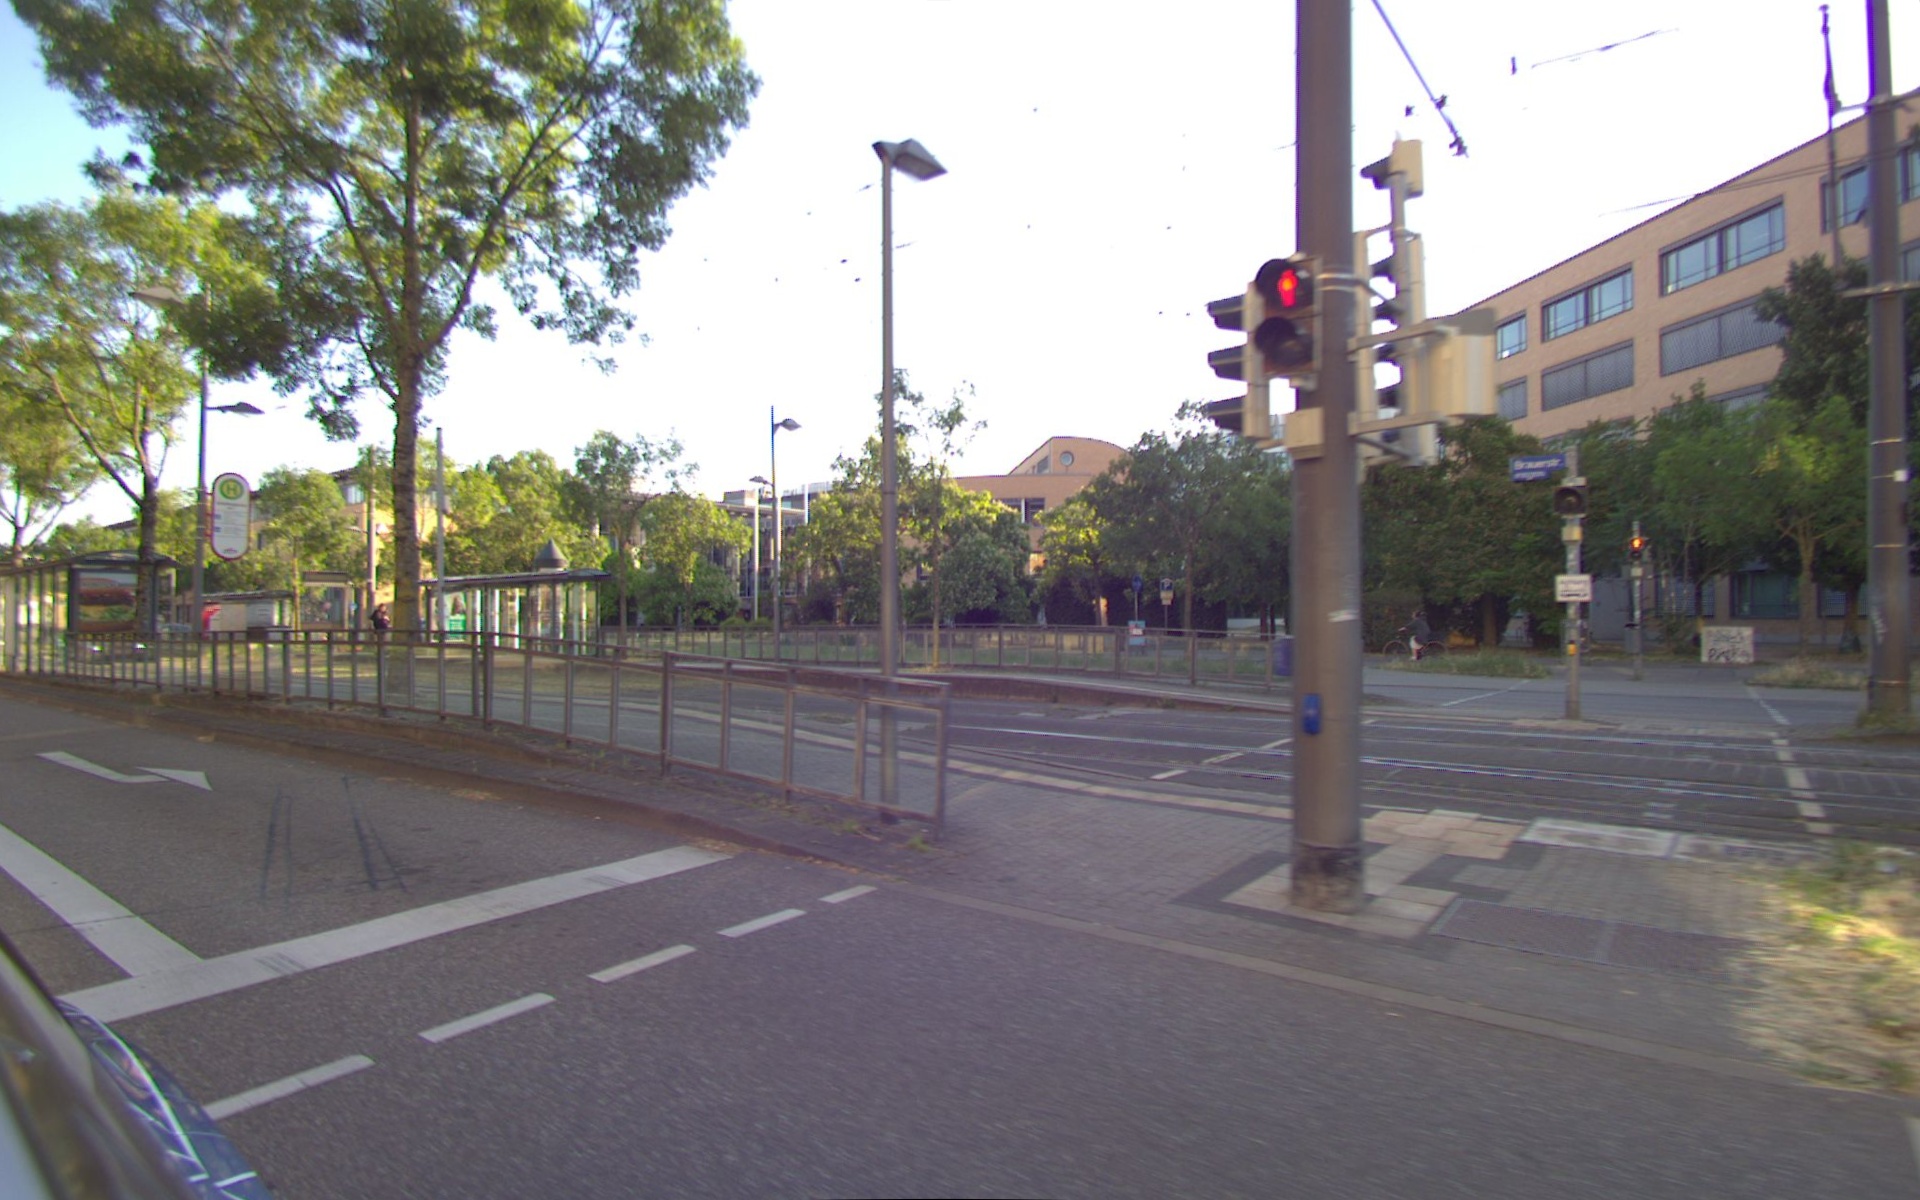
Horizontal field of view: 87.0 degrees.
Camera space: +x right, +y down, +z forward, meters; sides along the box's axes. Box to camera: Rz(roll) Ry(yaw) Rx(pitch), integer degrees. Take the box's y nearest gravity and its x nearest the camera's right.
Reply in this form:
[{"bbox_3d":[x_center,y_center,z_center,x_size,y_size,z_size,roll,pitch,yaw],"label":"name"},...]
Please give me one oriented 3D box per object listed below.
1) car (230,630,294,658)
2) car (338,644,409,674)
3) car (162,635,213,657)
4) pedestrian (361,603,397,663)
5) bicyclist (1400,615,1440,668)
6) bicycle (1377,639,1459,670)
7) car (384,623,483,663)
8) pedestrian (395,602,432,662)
[{"bbox_3d":[-39.267,2.443,56.892,4.335,1.426,1.777,-1,0,38],"label":"car"},{"bbox_3d":[-30.181,3.015,52.022,4.427,1.424,1.594,-1,-2,38],"label":"car"},{"bbox_3d":[-49.033,2.884,64.203,3.995,1.308,1.677,-2,-2,39],"label":"car"},{"bbox_3d":[-20.125,1.135,35.057,1.126,2.029,0.762,-2,-2,41],"label":"pedestrian"},{"bbox_3d":[12.969,1.159,28.521,0.827,1.478,0.760,-2,-2,41],"label":"bicyclist"},{"bbox_3d":[12.915,1.520,28.563,1.965,0.827,0.766,-2,-2,41],"label":"bicycle"},{"bbox_3d":[-22.129,1.797,42.478,4.889,1.563,1.973,-2,-2,40],"label":"car"},{"bbox_3d":[-18.932,1.100,35.044,1.126,2.029,0.762,-2,-2,41],"label":"pedestrian"}]
